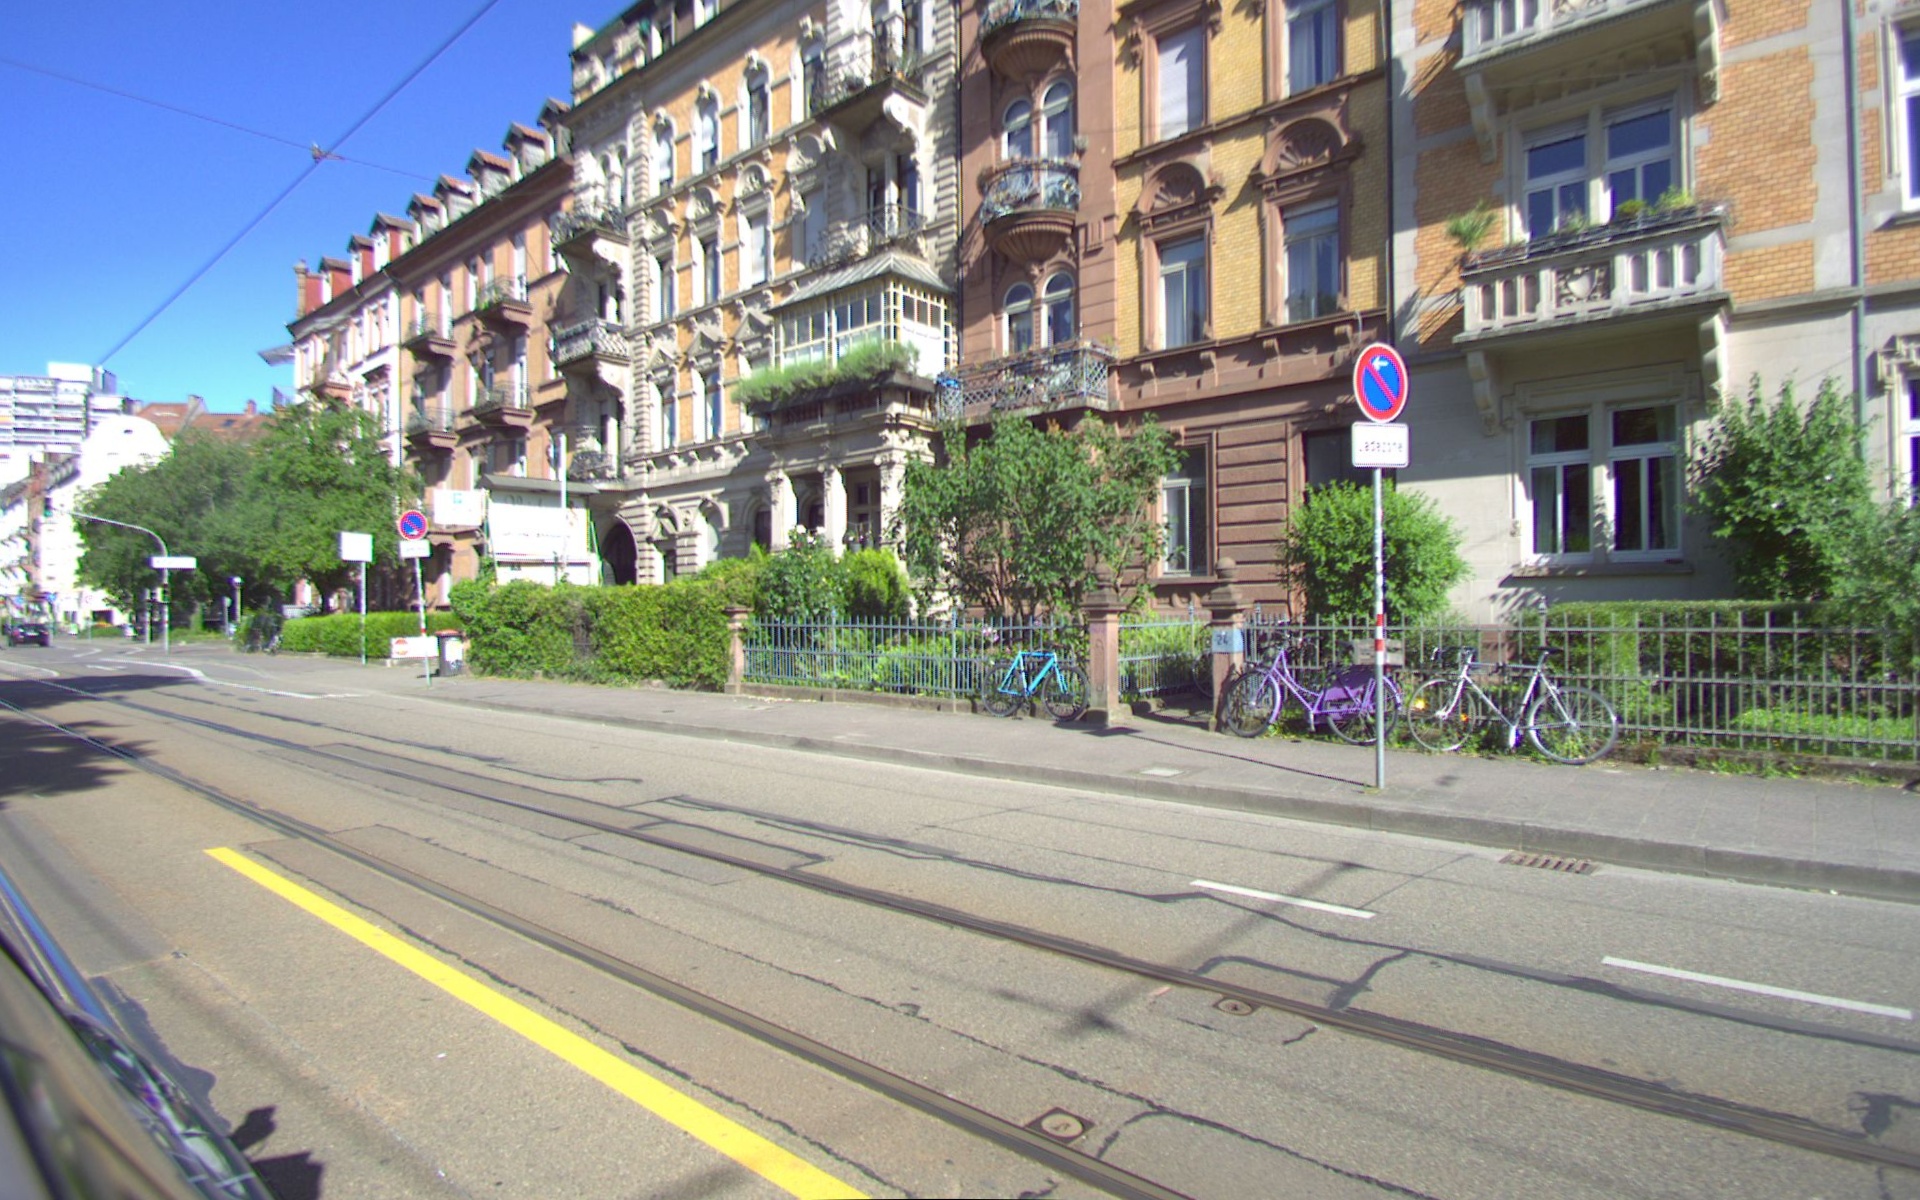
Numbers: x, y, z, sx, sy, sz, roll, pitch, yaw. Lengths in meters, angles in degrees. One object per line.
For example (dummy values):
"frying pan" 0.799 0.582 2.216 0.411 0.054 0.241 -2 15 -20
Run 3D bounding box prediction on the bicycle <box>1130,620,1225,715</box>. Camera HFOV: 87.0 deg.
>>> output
"bicycle" 2.810 0.832 12.971 0.479 1.041 1.559 -2 2 40

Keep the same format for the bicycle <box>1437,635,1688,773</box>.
"bicycle" 5.121 0.837 8.677 1.766 1.041 0.557 -2 0 41

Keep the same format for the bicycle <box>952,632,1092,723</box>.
"bicycle" 0.753 0.957 12.781 1.767 1.041 0.557 -3 0 42

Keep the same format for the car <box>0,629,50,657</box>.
"car" -57.377 2.604 62.045 4.965 1.529 1.813 -2 1 42

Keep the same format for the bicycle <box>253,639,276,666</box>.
"bicycle" -25.633 1.918 37.278 0.338 0.933 1.944 -2 0 -44

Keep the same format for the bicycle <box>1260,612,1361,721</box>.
"bicycle" 4.428 0.793 12.717 0.564 1.163 1.744 -2 2 40

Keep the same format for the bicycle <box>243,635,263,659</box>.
"bicycle" -28.315 1.879 40.531 0.338 0.933 1.944 -2 0 -44

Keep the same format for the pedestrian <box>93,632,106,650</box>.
"pedestrian" -65.854 3.137 77.473 0.724 1.291 0.650 -2 0 41

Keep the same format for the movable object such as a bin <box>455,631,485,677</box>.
"movable object such as a bin" -11.982 1.307 24.727 0.541 1.094 0.474 -2 0 43

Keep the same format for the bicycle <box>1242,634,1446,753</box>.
"bicycle" 3.738 0.872 9.941 1.766 1.041 0.557 -2 0 41

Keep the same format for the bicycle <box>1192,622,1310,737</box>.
"bicycle" 3.258 0.839 11.238 0.564 1.041 1.730 -2 2 40

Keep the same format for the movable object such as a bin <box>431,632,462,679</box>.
"movable object such as a bin" -12.281 1.315 24.216 0.541 1.094 0.474 -2 0 43
